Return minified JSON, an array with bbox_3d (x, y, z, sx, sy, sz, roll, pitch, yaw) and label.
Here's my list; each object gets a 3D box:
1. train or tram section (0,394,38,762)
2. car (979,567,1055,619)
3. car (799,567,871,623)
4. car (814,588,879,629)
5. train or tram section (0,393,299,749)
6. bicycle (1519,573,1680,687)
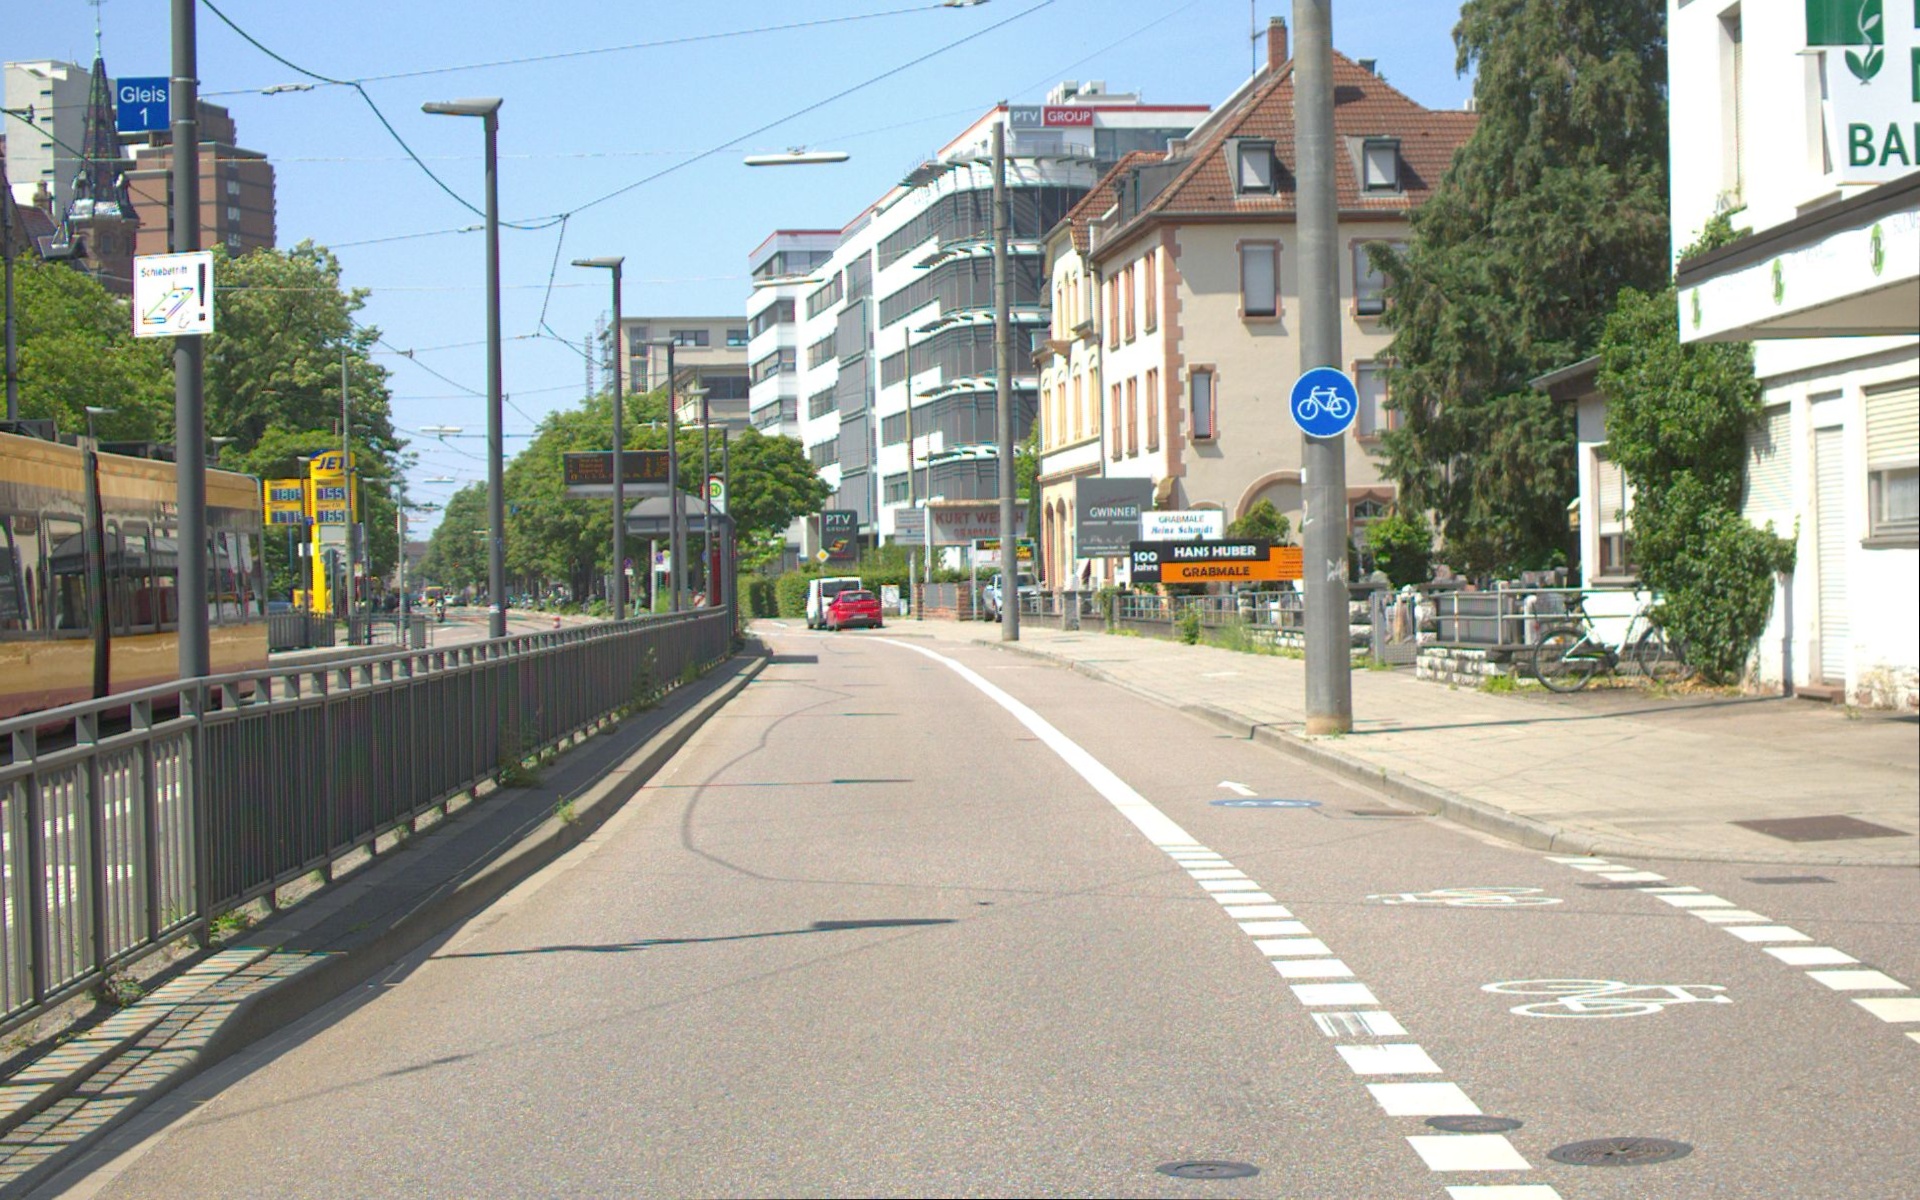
[{"bbox_3d":[-10.644,-0.190,24.267,3.250,3.555,20.502,-1,0,-2],"label":"train or tram section"},{"bbox_3d":[1.893,-0.228,116.201,1.877,1.619,4.640,-4,0,-6],"label":"car"},{"bbox_3d":[-4.834,-0.198,132.268,1.993,1.985,5.516,-3,1,-9],"label":"car"},{"bbox_3d":[-4.159,0.301,125.511,1.993,1.437,4.017,-1,0,-7],"label":"car"},{"bbox_3d":[-11.184,-0.242,42.562,3.235,3.555,16.350,-1,0,-2],"label":"train or tram section"},{"bbox_3d":[6.536,0.306,35.183,1.533,1.082,0.429,-3,0,5],"label":"bicycle"}]
